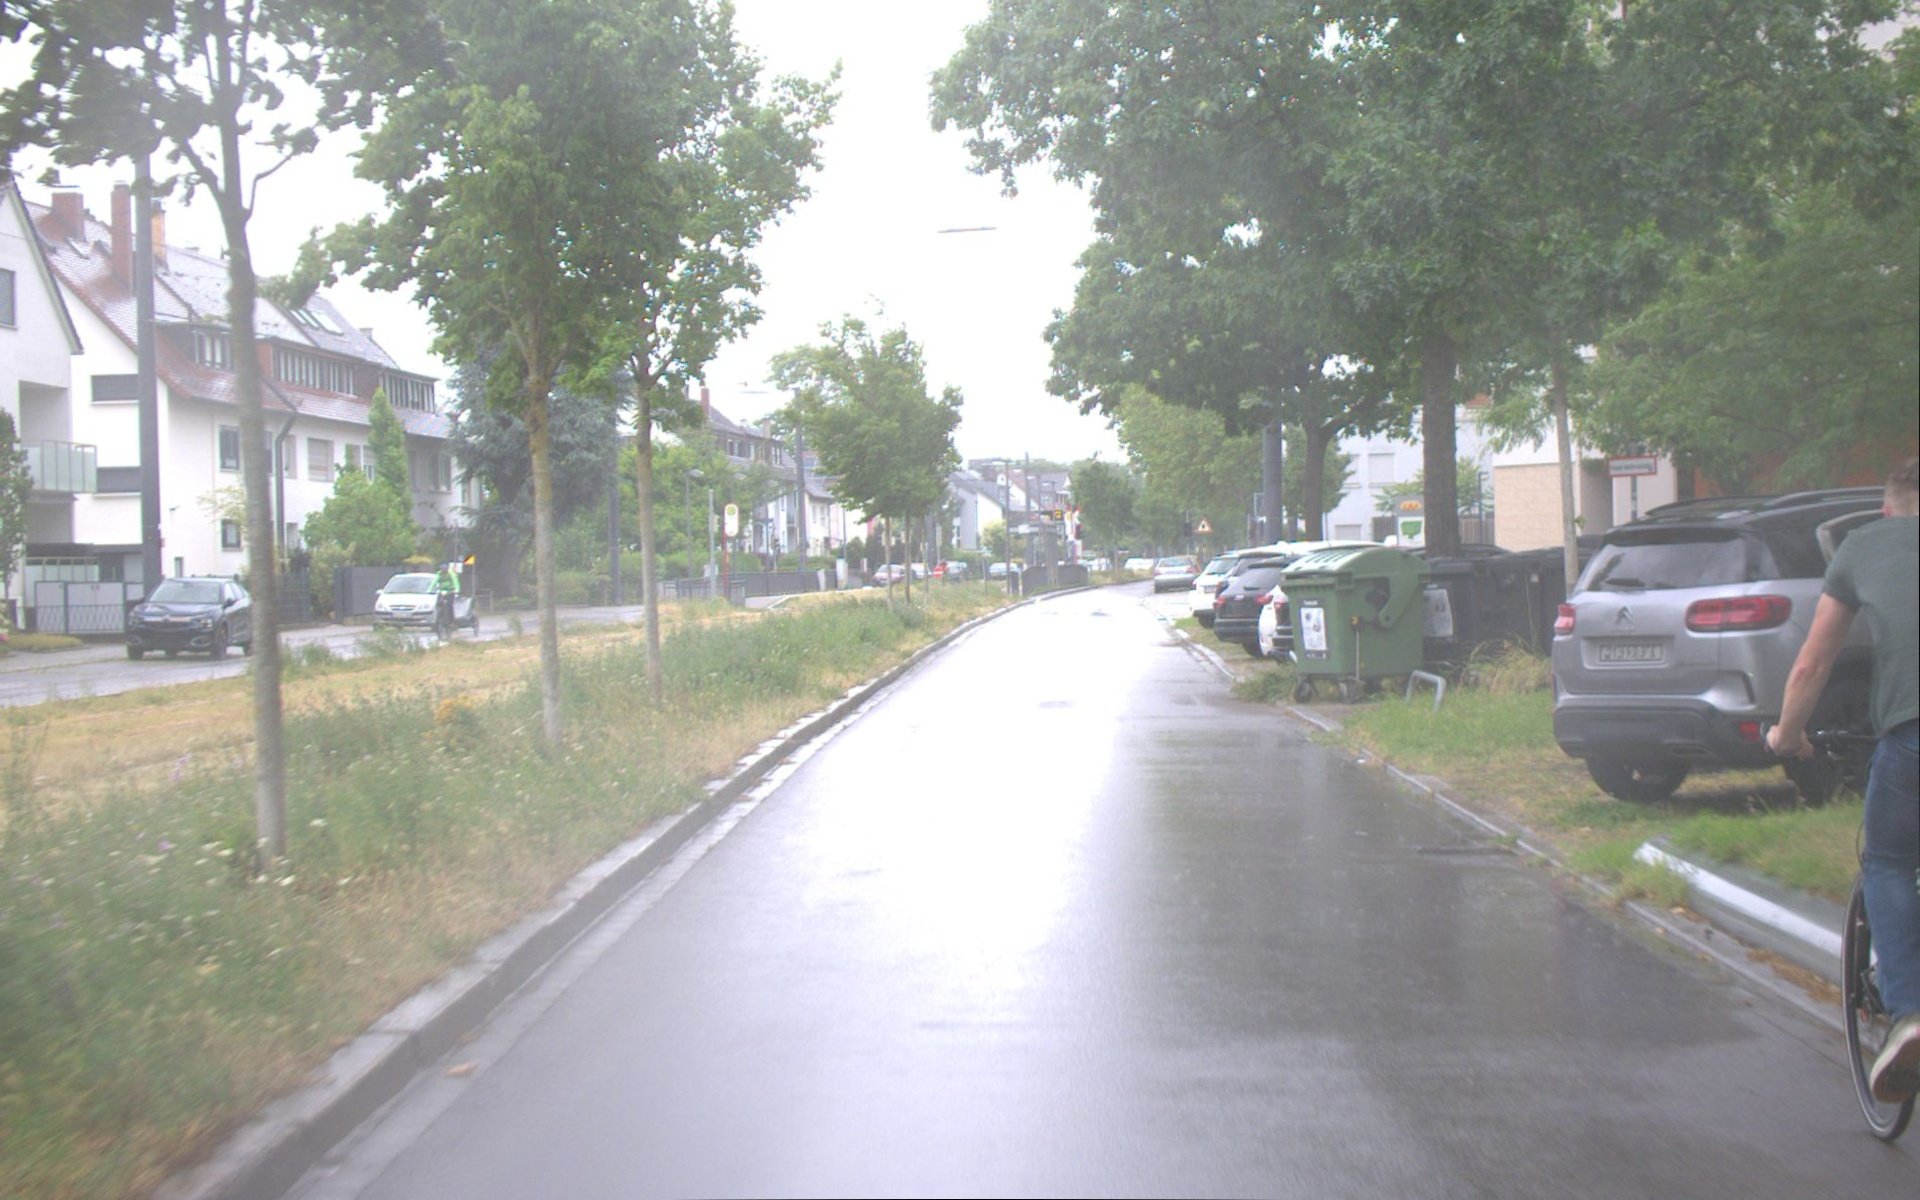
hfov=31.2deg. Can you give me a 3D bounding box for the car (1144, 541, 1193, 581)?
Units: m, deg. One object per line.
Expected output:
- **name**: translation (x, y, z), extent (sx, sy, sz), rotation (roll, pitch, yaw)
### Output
- **car**: translation (8.486, -1.600, 140.095), extent (1.833, 1.581, 4.000), rotation (-2, 1, 2)

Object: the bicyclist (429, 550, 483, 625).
- **bicyclist**: translation (-11.573, -0.283, 78.973), extent (1.018, 1.680, 1.092), rotation (-2, 1, 1)

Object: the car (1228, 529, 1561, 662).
- **car**: translation (5.457, -0.074, 43.019), extent (4.028, 1.514, 1.585), rotation (-2, 1, -33)

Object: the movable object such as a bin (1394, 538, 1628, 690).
- **movable object such as a bin**: translation (5.303, 0.123, 33.159), extent (1.681, 1.321, 1.401), rotation (-4, 2, -19)

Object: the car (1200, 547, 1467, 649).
- **car**: translation (5.809, -0.045, 53.231), extent (4.028, 1.438, 1.585), rotation (-2, 1, -35)

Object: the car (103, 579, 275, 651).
- **car**: translation (-14.614, 0.264, 65.422), extent (1.897, 1.240, 4.687), rotation (1, 1, 4)

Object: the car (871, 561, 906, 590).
- **car**: translation (-4.282, -1.459, 206.288), extent (1.843, 1.666, 4.000), rotation (-2, 1, 2)

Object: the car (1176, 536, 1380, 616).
- **car**: translation (6.486, -0.495, 70.032), extent (4.028, 1.508, 1.585), rotation (-2, 1, -35)

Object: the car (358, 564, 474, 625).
- **car**: translation (-13.815, -0.159, 87.523), extent (1.897, 1.464, 4.687), rotation (1, 1, 4)

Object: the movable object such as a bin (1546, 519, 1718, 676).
- **movable object such as a bin**: translation (6.781, -0.028, 34.738), extent (1.243, 1.515, 1.089), rotation (-3, 1, -26)

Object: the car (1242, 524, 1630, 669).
- **car**: translation (5.530, -0.063, 39.788), extent (4.214, 1.514, 1.877), rotation (-2, 1, -33)

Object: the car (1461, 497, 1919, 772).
- **car**: translation (5.436, 0.171, 23.171), extent (3.875, 1.561, 1.732), rotation (-5, 2, -35)

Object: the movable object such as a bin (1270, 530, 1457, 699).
- **movable object such as a bin**: translation (3.851, 0.132, 32.899), extent (1.125, 1.452, 1.401), rotation (-8, 3, -19)

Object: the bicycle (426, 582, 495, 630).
- **bicycle**: translation (-11.566, 0.134, 79.710), extent (1.018, 1.024, 3.197), rotation (-2, 1, 1)

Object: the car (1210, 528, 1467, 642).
- **car**: translation (6.133, -0.258, 55.533), extent (4.028, 1.697, 1.585), rotation (-2, 1, -35)

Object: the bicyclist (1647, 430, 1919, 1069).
- **bicyclist**: translation (2.200, 0.322, 8.280), extent (0.809, 1.428, 1.060), rotation (-2, 1, -2)

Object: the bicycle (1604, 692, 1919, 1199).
- **bicycle**: translation (2.229, 0.832, 8.235), extent (0.809, 1.093, 2.517), rotation (-2, 1, -1)

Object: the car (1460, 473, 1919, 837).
- **car**: translation (5.105, 0.190, 19.242), extent (4.135, 1.713, 2.000), rotation (-5, 2, -31)

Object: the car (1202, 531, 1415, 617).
- **car**: translation (6.820, -0.511, 67.097), extent (4.028, 1.535, 1.585), rotation (-2, 1, -35)

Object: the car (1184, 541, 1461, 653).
- **car**: translation (5.167, -0.062, 48.665), extent (4.030, 1.438, 1.584), rotation (-2, 1, -42)
